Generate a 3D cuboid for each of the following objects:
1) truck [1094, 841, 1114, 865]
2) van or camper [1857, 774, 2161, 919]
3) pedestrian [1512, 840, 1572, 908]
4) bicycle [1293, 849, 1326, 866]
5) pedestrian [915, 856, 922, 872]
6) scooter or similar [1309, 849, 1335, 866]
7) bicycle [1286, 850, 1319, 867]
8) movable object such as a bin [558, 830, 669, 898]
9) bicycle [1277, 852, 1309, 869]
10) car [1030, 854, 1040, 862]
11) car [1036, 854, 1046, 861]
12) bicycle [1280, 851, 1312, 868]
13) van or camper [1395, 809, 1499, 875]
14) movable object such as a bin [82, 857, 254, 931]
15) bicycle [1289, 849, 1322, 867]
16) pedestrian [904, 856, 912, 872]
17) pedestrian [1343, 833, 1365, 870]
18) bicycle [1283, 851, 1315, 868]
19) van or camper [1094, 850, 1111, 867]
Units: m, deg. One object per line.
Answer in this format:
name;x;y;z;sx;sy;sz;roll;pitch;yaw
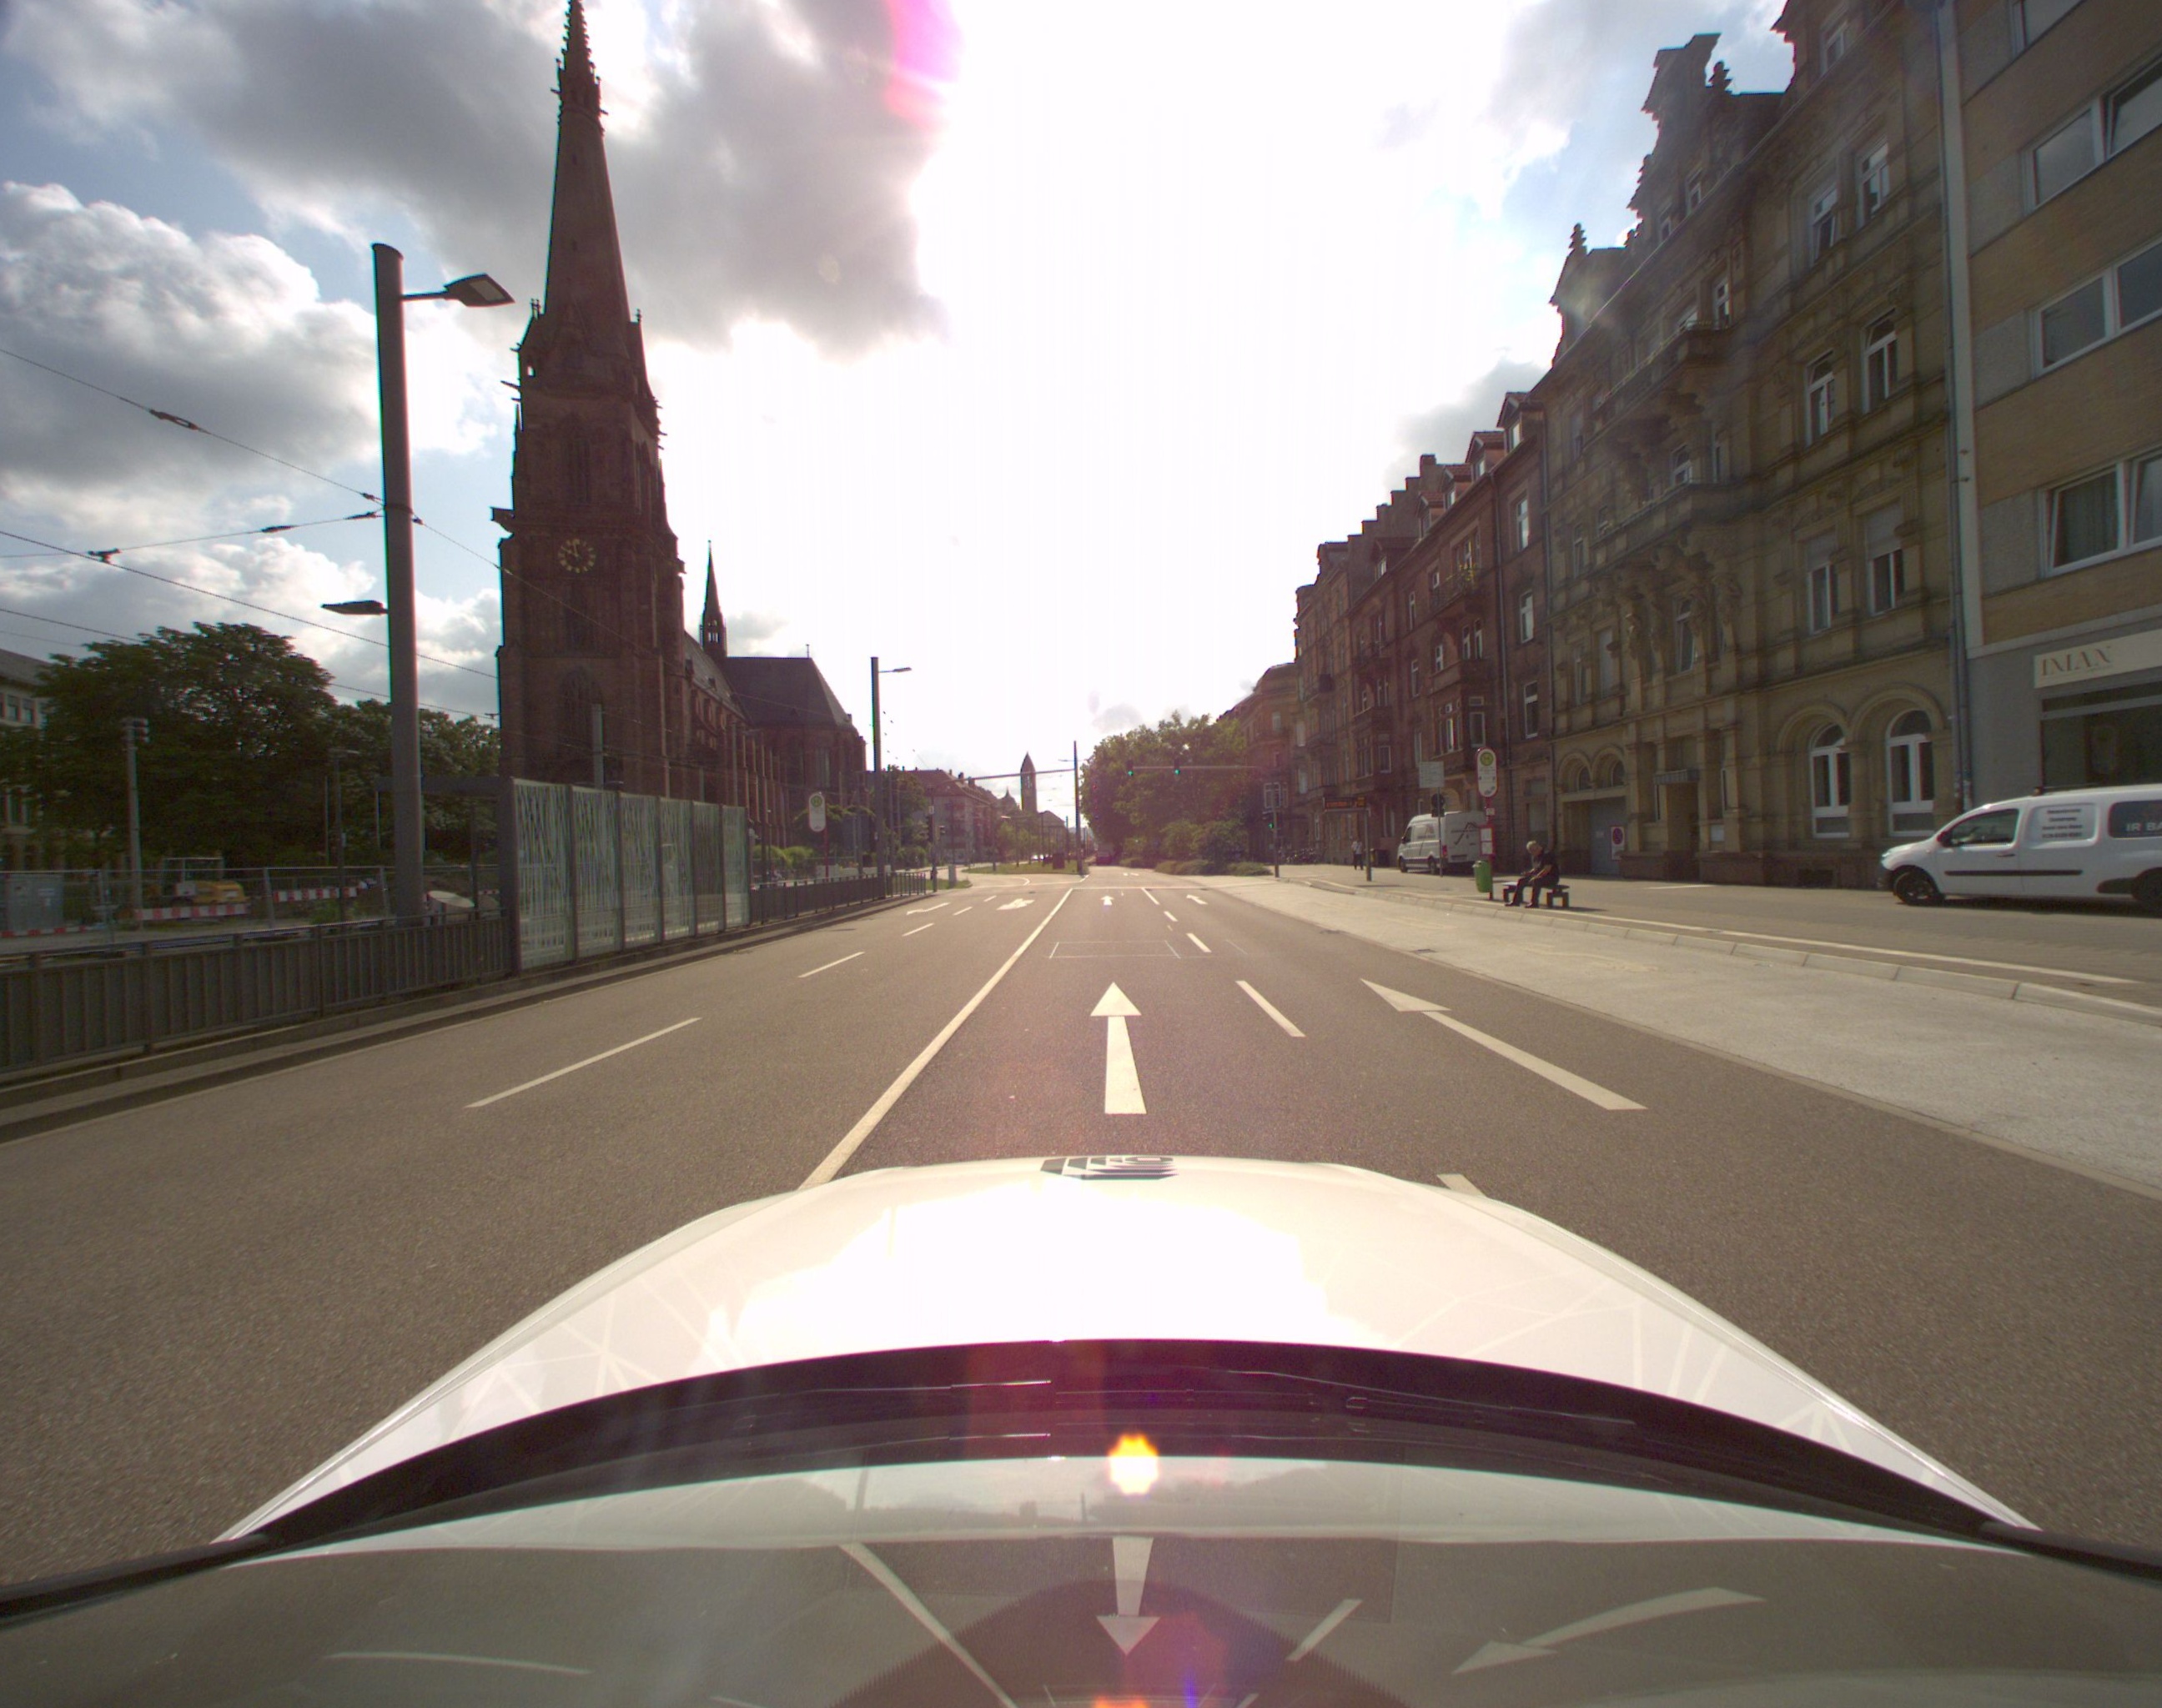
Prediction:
truck;3.863;-0.152;135.986;3.157;3.287;7.298;-1;-4;2
van or camper;15.158;-0.160;11.999;1.991;1.905;5.287;-5;0;-5
pedestrian;9.273;0.400;16.389;0.748;1.316;0.812;0;-1;-37
bicycle;16.385;0.243;58.423;2.185;1.181;0.683;-2;0;-4
pedestrian;-21.455;1.302;107.575;0.802;2.014;0.915;0;-4;1
scooter or similar;16.494;0.260;55.726;1.558;1.097;0.452;-2;-1;5
bicycle;16.250;0.342;59.836;2.185;1.181;0.683;-2;0;-4
movable object such as a bin;-27.718;0.539;48.576;2.650;3.730;5.608;-2;0;9
bicycle;16.143;0.489;61.959;2.185;1.181;0.683;-2;0;-4
car;-11.494;1.037;202.696;1.984;1.794;4.005;-2;0;5
car;-10.621;0.837;217.715;1.984;1.794;4.005;-2;0;5
bicycle;16.144;0.442;61.279;2.185;1.181;0.683;-2;0;-4
van or camper;15.344;-0.466;34.549;1.986;2.474;5.567;-2;0;2
movable object such as a bin;-38.048;1.615;34.015;4.885;2.802;2.001;-2;0;1
bicycle;16.336;0.296;59.188;2.185;1.181;0.683;-2;0;-4
pedestrian;-22.853;1.317;107.732;0.802;2.014;0.915;0;-4;1
pedestrian;14.875;-0.134;44.359;0.882;2.014;0.996;0;-1;1
bicycle;16.202;0.391;60.542;2.185;1.181;0.683;-2;0;-4
van or camper;2.774;0.609;105.896;2.004;1.915;4.517;0;-4;-2
